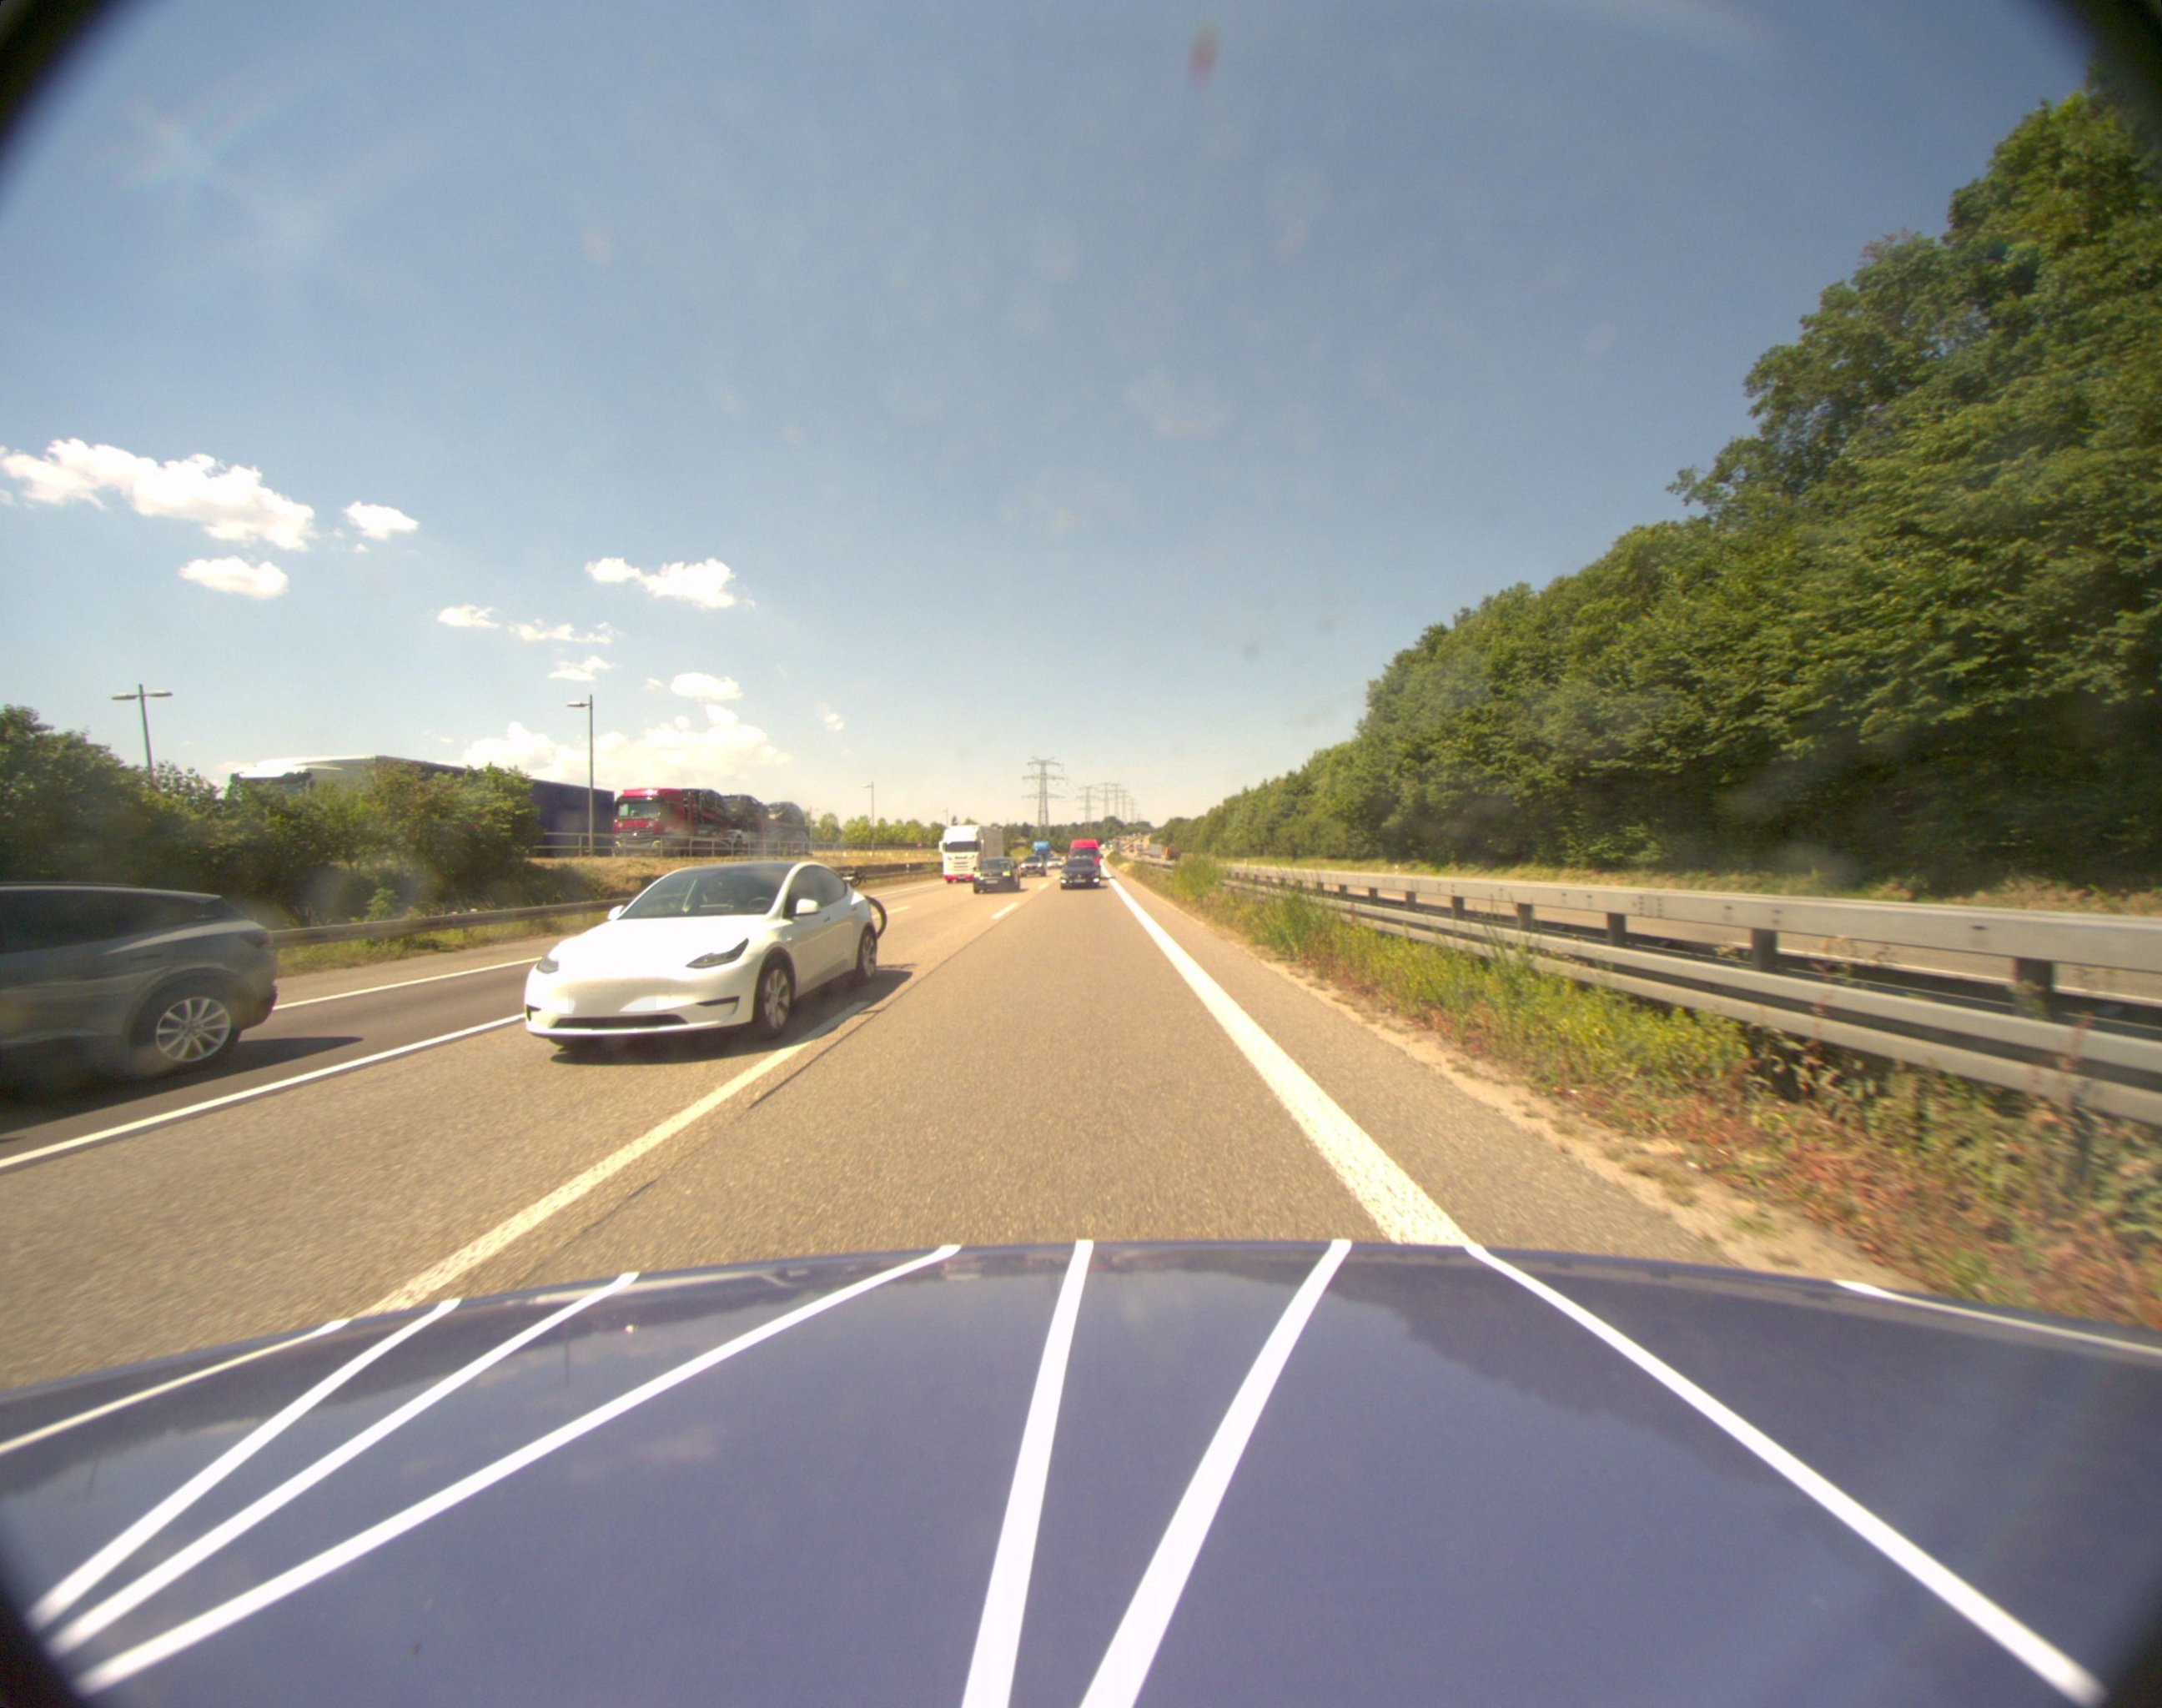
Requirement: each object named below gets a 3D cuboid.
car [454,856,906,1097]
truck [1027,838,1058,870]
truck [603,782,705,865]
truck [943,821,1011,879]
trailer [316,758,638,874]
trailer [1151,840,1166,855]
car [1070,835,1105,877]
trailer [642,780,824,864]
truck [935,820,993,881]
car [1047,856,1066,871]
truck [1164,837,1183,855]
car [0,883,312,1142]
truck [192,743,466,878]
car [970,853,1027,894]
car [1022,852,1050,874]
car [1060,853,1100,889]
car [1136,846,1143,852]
[{"bbox_3d":[-3.640,0.929,8.488,1.955,1.627,5.599,-3,1,1],"label":"car"},{"bbox_3d":[-6.511,-0.160,131.136,3.797,4.971,14.924,-3,1,2],"label":"truck"},{"bbox_3d":[-21.251,-1.482,38.073,2.608,3.805,3.999,-3,1,1],"label":"truck"},{"bbox_3d":[-7.758,-0.343,58.727,3.076,3.885,12.503,-3,1,1],"label":"truck"},{"bbox_3d":[-26.025,-1.485,34.653,3.060,4.060,14.255,-3,1,0],"label":"trailer"},{"bbox_3d":[22.799,-1.935,223.273,3.462,4.255,7.968,-3,1,0],"label":"trailer"},{"bbox_3d":[0.481,0.108,49.934,2.100,2.598,4.496,-1,1,3],"label":"car"},{"bbox_3d":[-21.071,-1.788,48.419,2.612,4.233,18.419,-3,1,1],"label":"trailer"},{"bbox_3d":[-7.926,-0.264,51.983,3.076,3.885,3.847,-3,1,1],"label":"truck"},{"bbox_3d":[-2.862,1.080,89.717,1.878,1.591,3.688,-1,1,3],"label":"car"},{"bbox_3d":[20.008,-1.841,165.487,2.789,3.717,11.156,-3,1,1],"label":"truck"},{"bbox_3d":[-8.171,1.151,4.785,1.873,1.627,4.585,-2,1,1],"label":"car"},{"bbox_3d":[-26.044,-1.393,26.909,3.060,4.060,6.396,-3,1,0],"label":"truck"},{"bbox_3d":[-3.737,0.838,35.289,1.955,1.637,4.047,-3,1,3],"label":"car"},{"bbox_3d":[-3.511,0.685,60.382,1.749,1.691,4.088,-1,1,3],"label":"car"},{"bbox_3d":[0.006,0.773,36.224,1.735,1.536,3.750,0,1,3],"label":"car"},{"bbox_3d":[17.730,-1.560,230.787,1.998,1.661,5.610,1,1,1],"label":"car"}]
